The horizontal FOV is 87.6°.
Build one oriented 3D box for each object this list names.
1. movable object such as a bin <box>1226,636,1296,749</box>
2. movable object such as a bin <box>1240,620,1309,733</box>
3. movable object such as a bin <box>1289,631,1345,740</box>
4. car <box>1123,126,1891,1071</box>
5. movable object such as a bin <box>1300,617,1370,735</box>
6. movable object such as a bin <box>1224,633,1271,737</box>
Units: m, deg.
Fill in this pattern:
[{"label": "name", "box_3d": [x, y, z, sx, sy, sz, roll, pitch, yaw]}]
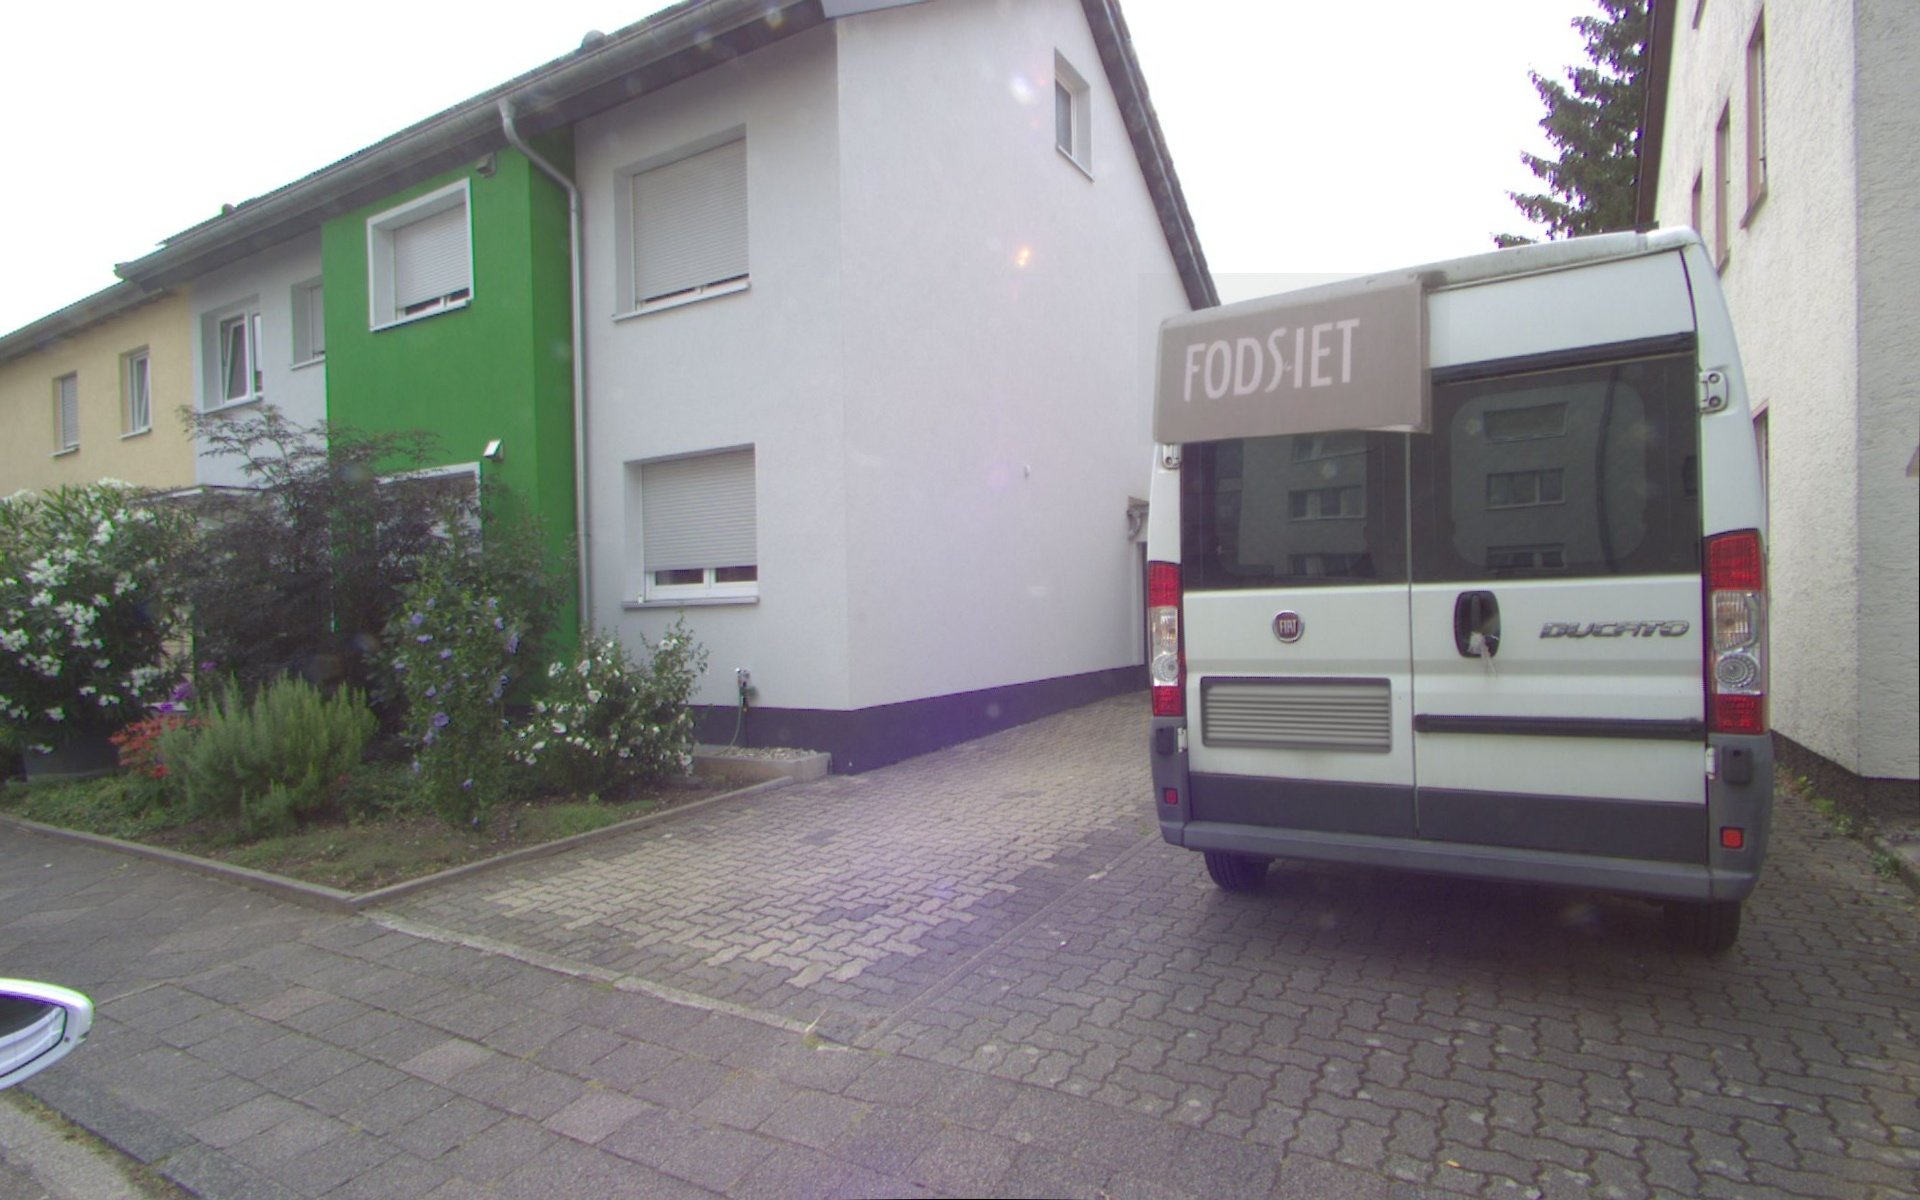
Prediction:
[{"label": "movable object such as a bin", "box_3d": [2.676, 0.803, 8.880, 0.475, 0.938, 0.518, -1, 2, 30]}, {"label": "movable object such as a bin", "box_3d": [3.084, 0.735, 9.806, 0.538, 1.046, 0.454, -1, 2, 30]}, {"label": "movable object such as a bin", "box_3d": [3.263, 0.766, 9.147, 0.396, 0.938, 0.448, -1, 2, 30]}, {"label": "car", "box_3d": [2.895, -0.025, 5.490, 2.205, 2.576, 5.077, -1, 1, 31]}, {"label": "movable object such as a bin", "box_3d": [3.571, 0.710, 9.524, 0.538, 1.071, 0.454, -1, 2, 30]}, {"label": "movable object such as a bin", "box_3d": [2.730, 0.794, 9.492, 0.333, 0.938, 0.354, -1, 2, 30]}]
